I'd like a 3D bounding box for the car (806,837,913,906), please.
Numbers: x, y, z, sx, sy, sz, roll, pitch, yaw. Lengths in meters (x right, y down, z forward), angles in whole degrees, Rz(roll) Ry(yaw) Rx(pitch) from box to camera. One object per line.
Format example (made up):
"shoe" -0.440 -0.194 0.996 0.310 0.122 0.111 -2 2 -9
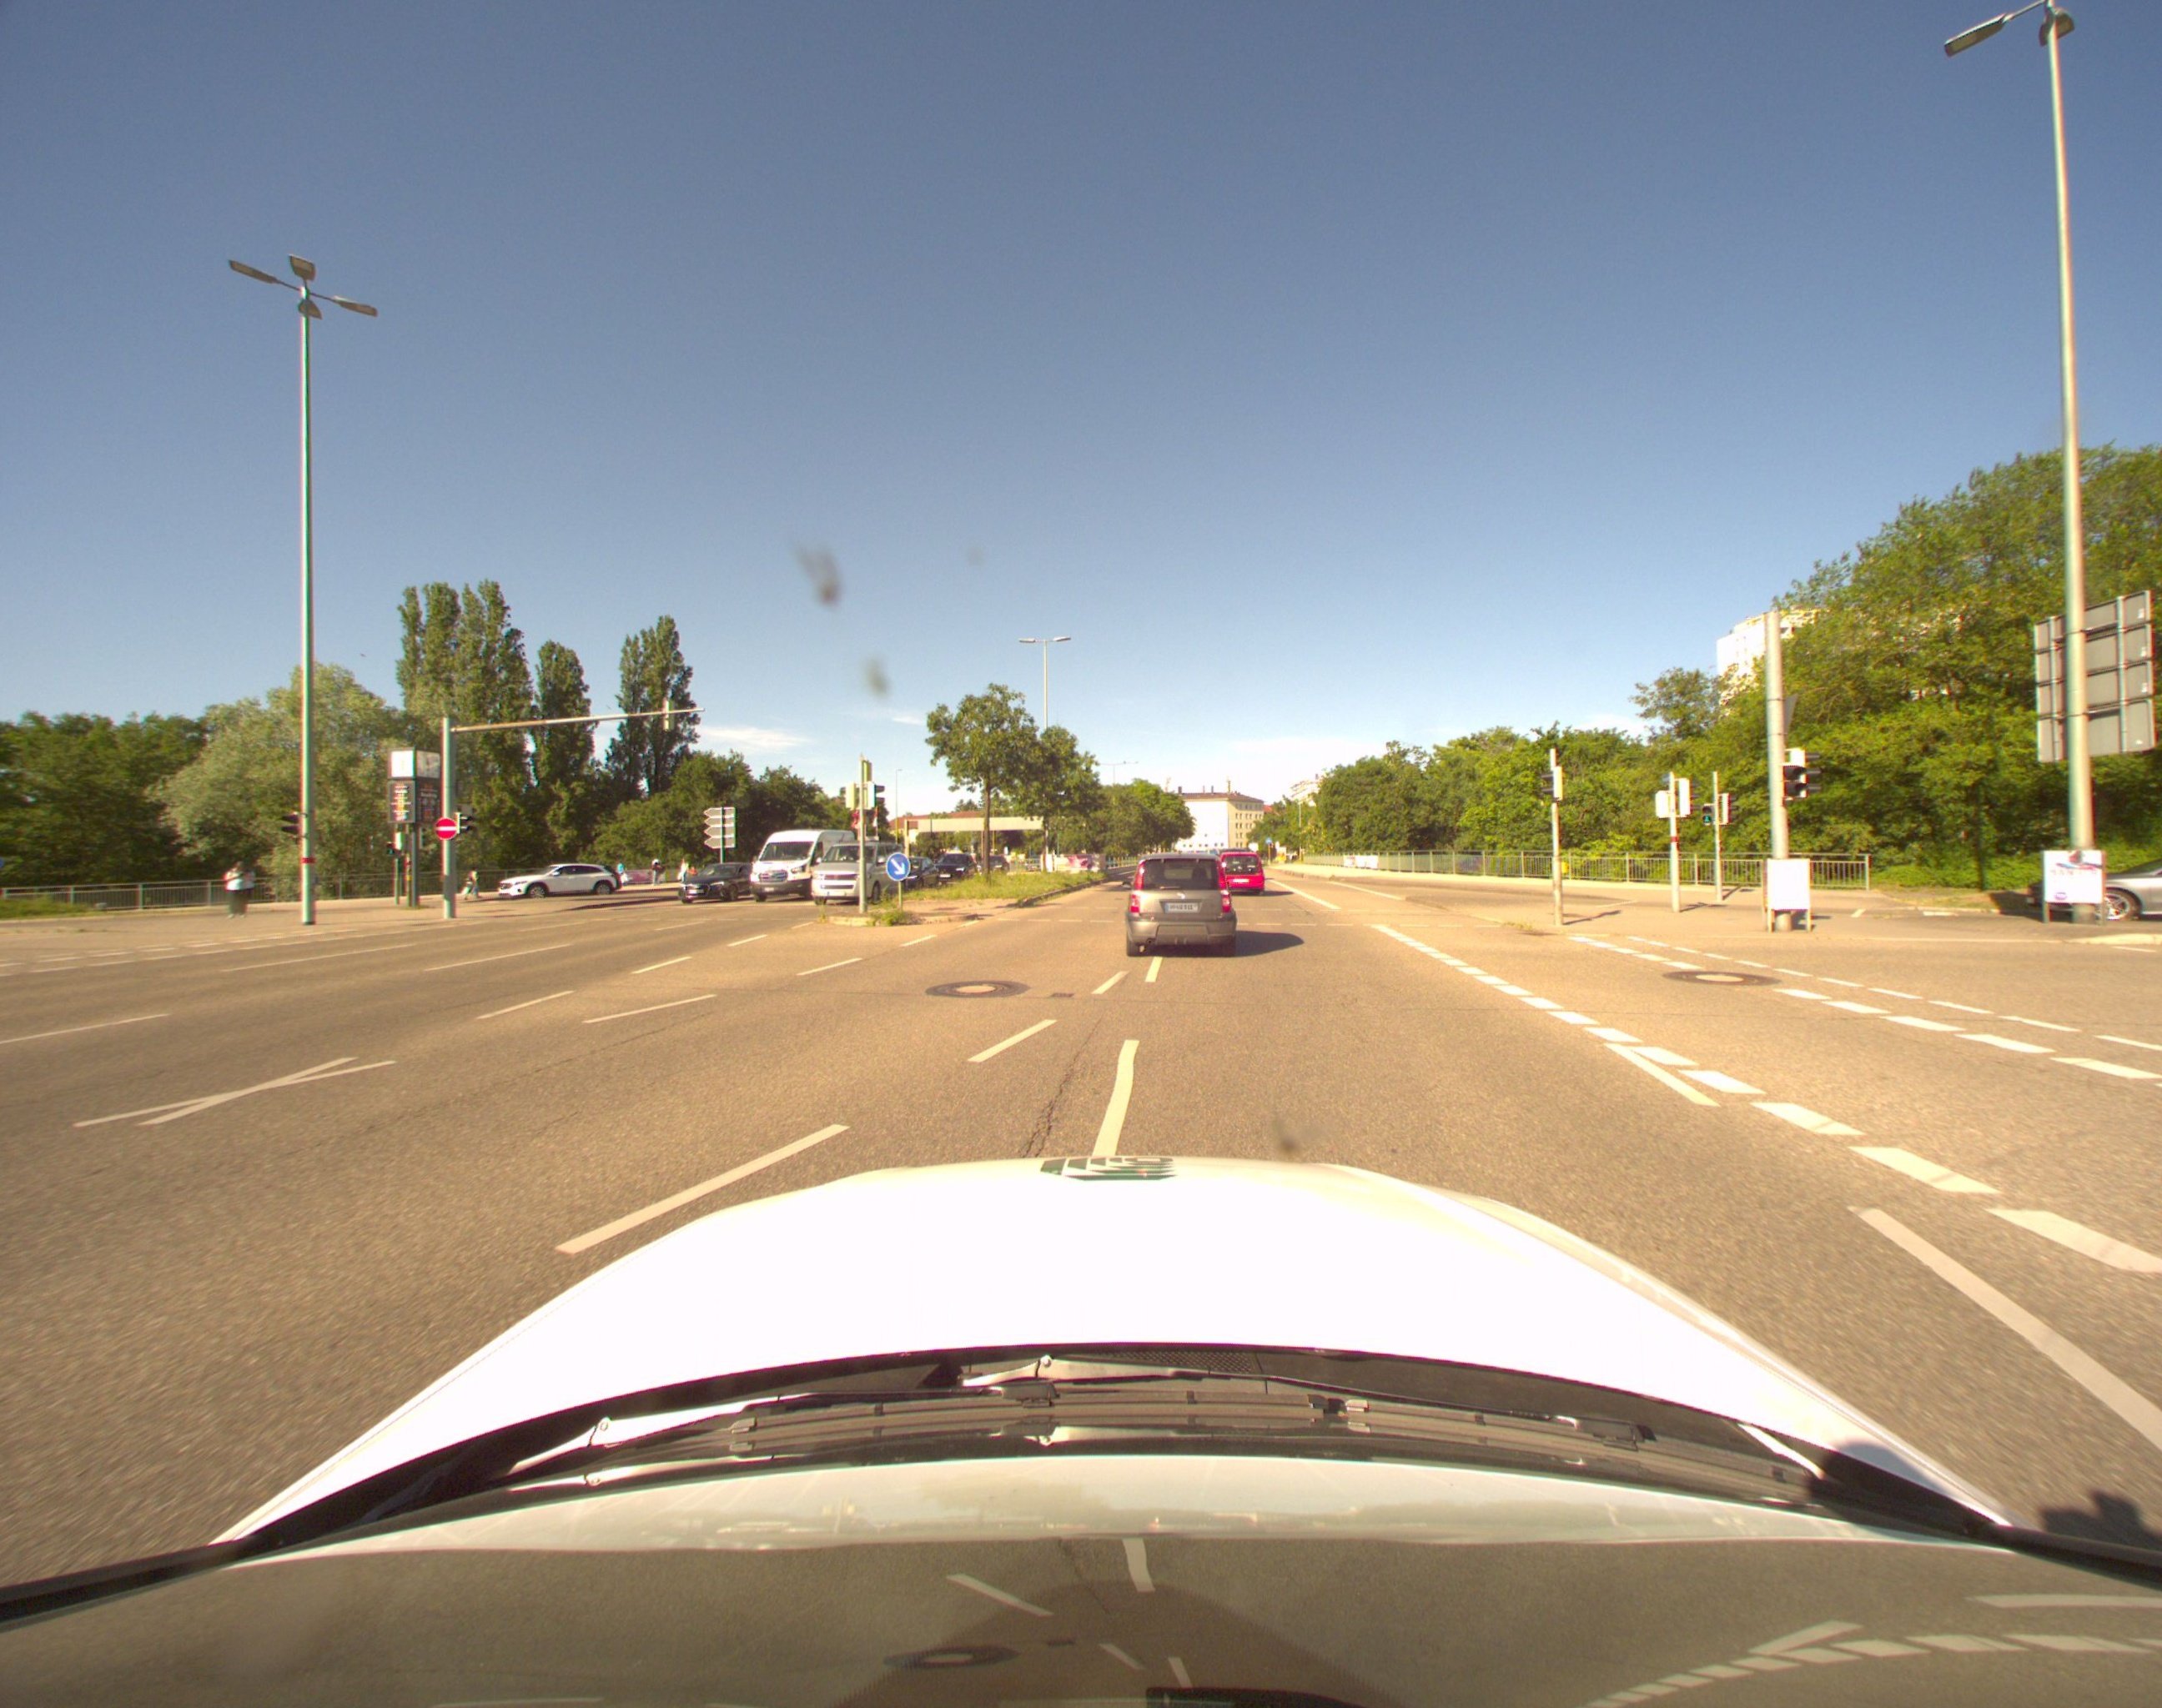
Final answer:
"car" -6.997 0.512 26.363 1.929 2.008 4.934 -1 0 2

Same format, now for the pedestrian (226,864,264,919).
"pedestrian" -24.232 1.079 23.612 0.715 1.547 0.720 -1 0 -42

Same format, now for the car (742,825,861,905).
"car" -9.862 0.358 29.364 1.929 2.576 6.091 -1 0 2

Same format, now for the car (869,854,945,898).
"car" -6.951 0.838 32.975 1.929 1.622 4.508 -1 0 2

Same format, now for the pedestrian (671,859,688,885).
"pedestrian" -26.039 1.161 52.802 0.716 1.641 0.674 0 -2 7

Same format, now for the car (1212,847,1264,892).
"car" 5.429 0.511 28.516 1.608 1.463 3.759 0 0 8

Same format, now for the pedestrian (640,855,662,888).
"pedestrian" -26.317 1.049 49.861 0.801 1.997 0.789 0 -2 7

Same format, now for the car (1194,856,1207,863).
"car" 25.463 1.189 173.097 1.929 1.528 4.117 -1 0 19

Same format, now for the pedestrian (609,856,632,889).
"pedestrian" -27.584 1.118 48.811 0.832 1.917 0.789 0 -2 7

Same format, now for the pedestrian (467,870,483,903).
"pedestrian" -29.174 1.569 39.217 0.560 1.547 0.570 -1 -2 -34

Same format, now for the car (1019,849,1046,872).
"car" -4.558 0.623 76.888 1.984 2.014 4.339 -2 0 4

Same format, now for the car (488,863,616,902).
"car" -23.009 1.193 35.619 1.762 1.535 4.356 0 0 30

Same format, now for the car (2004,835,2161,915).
"car" 21.814 0.395 16.236 4.190 1.552 1.873 -1 0 36

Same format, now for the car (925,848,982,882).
"car" -6.338 0.528 40.977 1.928 1.622 4.510 -1 0 3

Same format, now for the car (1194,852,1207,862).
"car" 19.305 0.454 131.407 1.933 1.528 4.109 -1 0 10

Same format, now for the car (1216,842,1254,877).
"car" 8.553 0.330 44.964 1.932 1.840 4.166 1 -1 12

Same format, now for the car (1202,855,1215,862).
"car" 28.280 1.057 180.887 1.928 1.528 4.120 -1 0 24

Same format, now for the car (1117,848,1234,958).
"car" 1.509 0.673 13.266 1.609 1.515 3.826 0 0 6

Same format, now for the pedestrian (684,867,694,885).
"pedestrian" -25.426 1.438 52.858 0.421 1.136 0.398 0 -2 7

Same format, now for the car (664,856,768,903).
"car" -13.090 0.858 29.475 1.931 1.507 3.999 -2 0 -1

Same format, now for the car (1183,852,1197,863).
"car" 16.278 0.534 121.378 1.933 1.528 4.108 -1 0 10

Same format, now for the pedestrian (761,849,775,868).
"pedestrian" -25.210 0.406 65.536 0.664 1.503 0.783 -1 -3 21

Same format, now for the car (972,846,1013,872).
"car" -5.796 0.341 53.830 1.928 1.622 4.510 -1 0 3
